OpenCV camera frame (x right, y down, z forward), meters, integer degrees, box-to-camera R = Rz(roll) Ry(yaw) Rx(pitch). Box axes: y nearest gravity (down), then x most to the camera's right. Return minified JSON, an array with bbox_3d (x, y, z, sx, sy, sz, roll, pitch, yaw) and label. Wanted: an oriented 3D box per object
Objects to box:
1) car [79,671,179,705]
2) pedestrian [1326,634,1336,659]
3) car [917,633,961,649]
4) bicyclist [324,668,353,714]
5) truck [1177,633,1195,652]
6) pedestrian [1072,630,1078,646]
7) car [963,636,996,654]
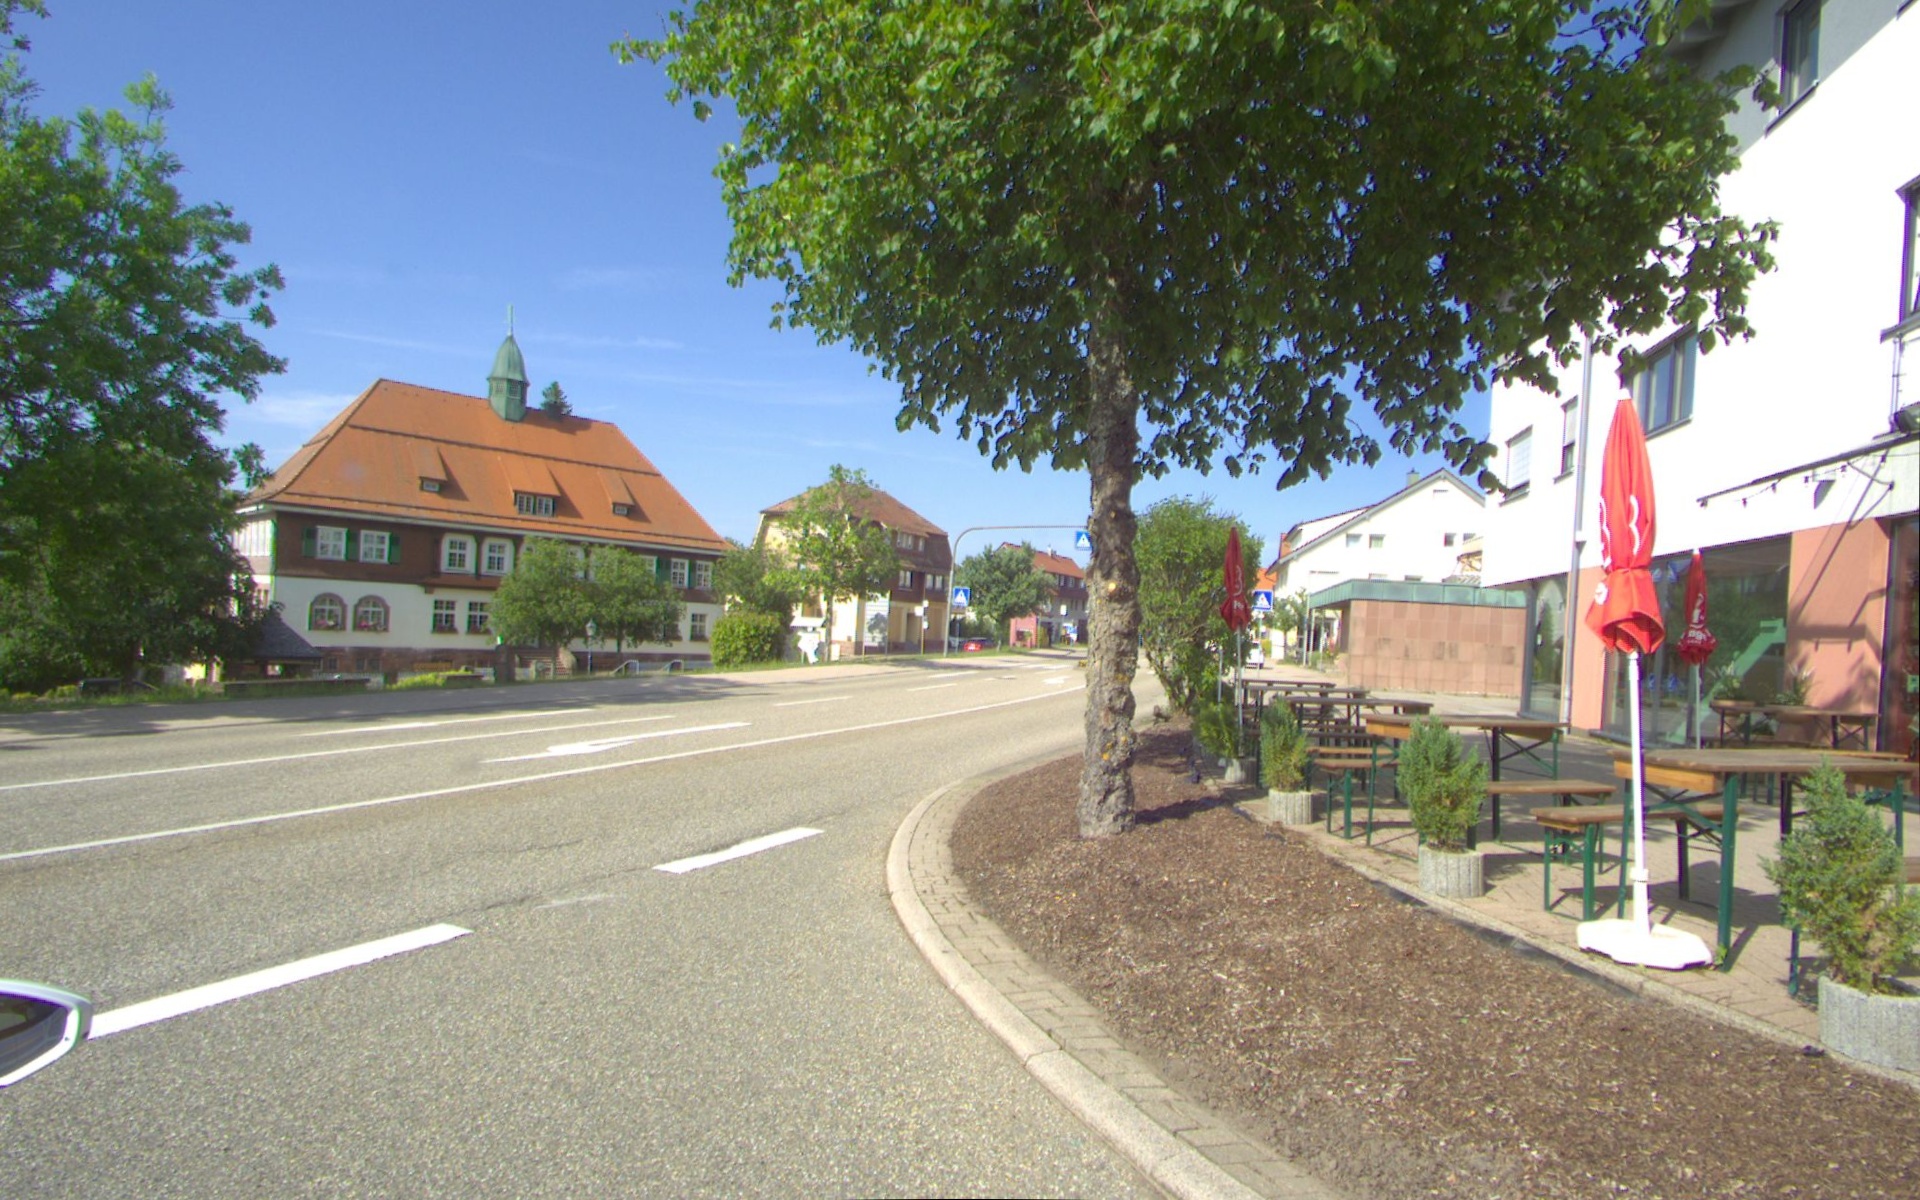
[{"bbox_3d":[-41.665,4.379,50.251,1.696,1.463,3.751,-2,-2,44],"label":"car"},{"bbox_3d":[23.977,2.989,64.692,0.557,1.613,0.484,0,-1,16],"label":"pedestrian"},{"bbox_3d":[-1.947,3.779,92.856,3.648,1.451,1.774,-2,-2,19],"label":"car"},{"bbox_3d":[-27.185,3.949,43.776,0.988,1.949,0.577,1,-2,-43],"label":"bicyclist"},{"bbox_3d":[30.422,5.697,134.641,1.963,2.372,6.487,2,-1,16],"label":"truck"},{"bbox_3d":[13.029,4.352,113.762,0.489,1.771,0.581,-1,-1,31],"label":"pedestrian"},{"bbox_3d":[1.639,3.703,82.061,1.744,1.451,3.710,-1,-2,17],"label":"car"}]
